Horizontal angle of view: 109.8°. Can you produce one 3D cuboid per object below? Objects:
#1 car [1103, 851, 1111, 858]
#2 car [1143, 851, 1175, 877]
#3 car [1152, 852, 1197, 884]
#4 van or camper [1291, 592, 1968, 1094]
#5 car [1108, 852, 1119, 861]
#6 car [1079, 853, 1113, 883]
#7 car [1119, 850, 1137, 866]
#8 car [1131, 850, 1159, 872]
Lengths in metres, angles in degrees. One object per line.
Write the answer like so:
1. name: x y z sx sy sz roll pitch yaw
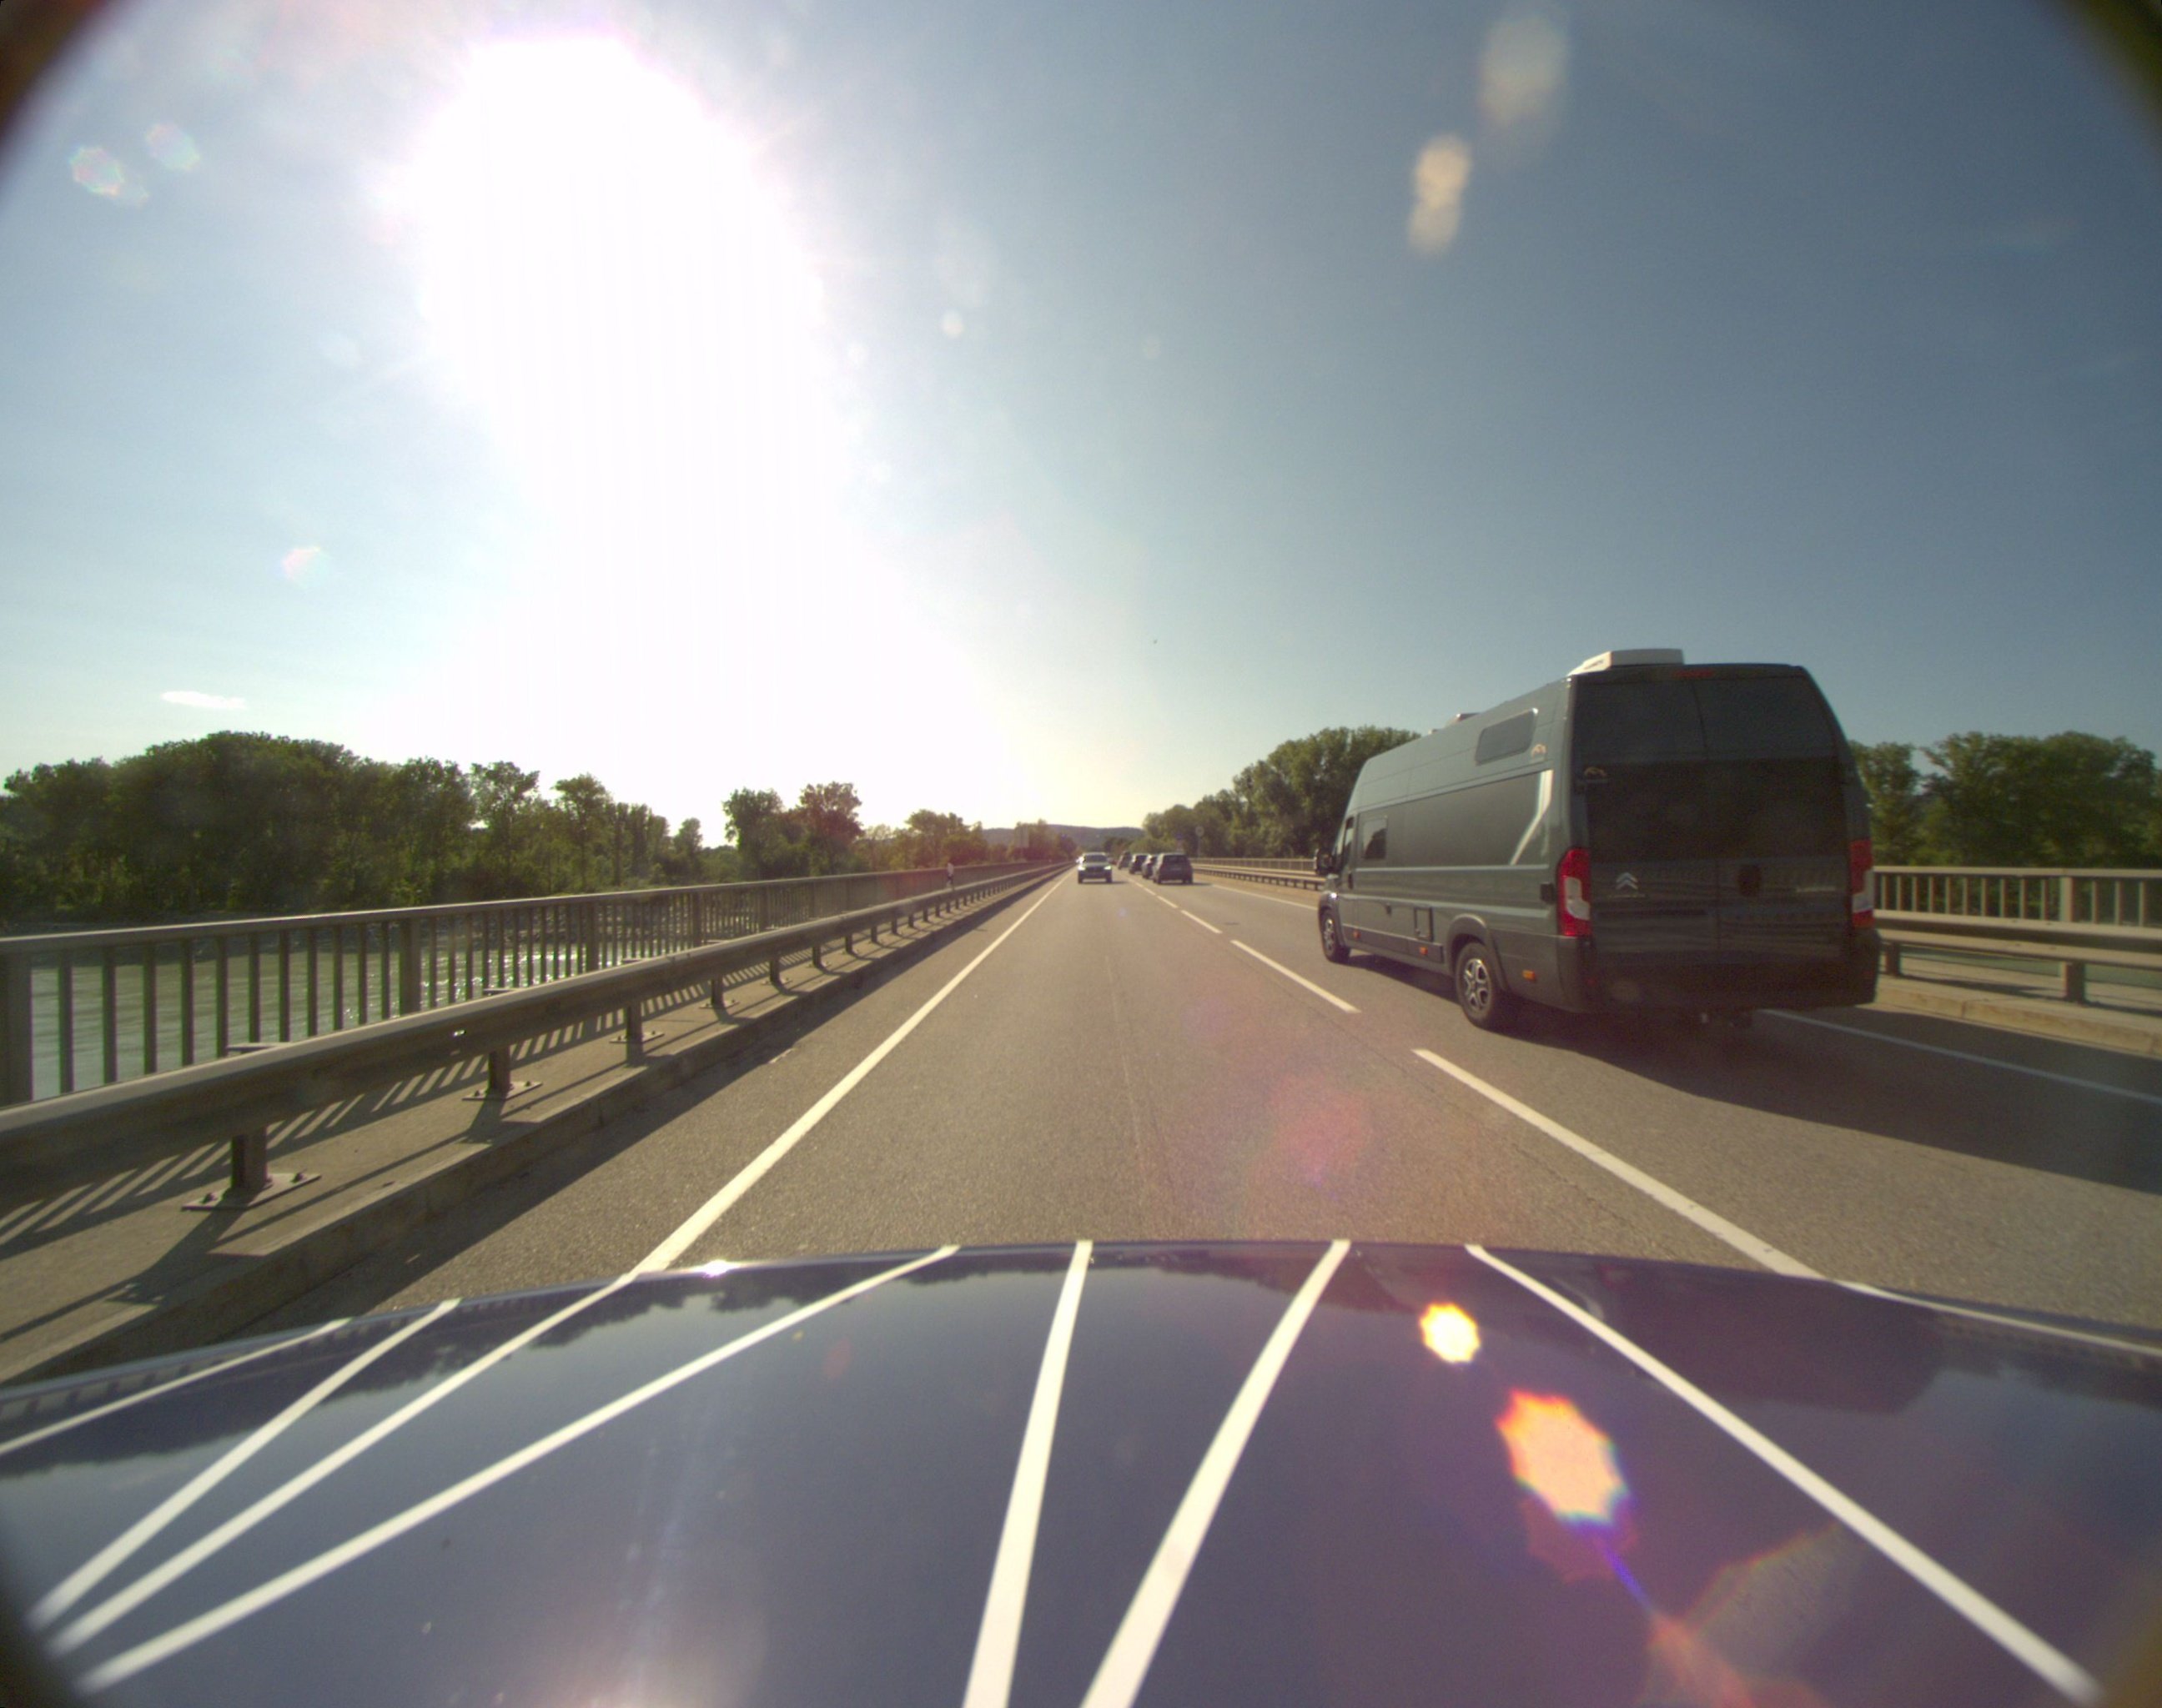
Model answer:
1. car: 6.933 0.078 201.189 1.807 1.651 4.433 -2 0 0
2. car: 5.025 0.639 49.389 1.810 1.568 4.201 -2 0 2
3. car: 4.855 0.688 40.080 1.879 1.574 4.274 -1 0 1
4. van or camper: 4.339 -0.068 8.108 2.321 3.033 6.817 -2 0 1
5. car: 5.699 0.452 133.082 1.770 1.439 4.456 -2 0 0
6. car: 0.884 0.755 44.449 1.871 1.598 4.380 -2 0 1
7. car: 5.423 0.417 88.267 1.859 1.712 4.566 -2 0 1
8. car: 5.328 0.583 63.893 2.058 1.643 4.721 -3 0 2
